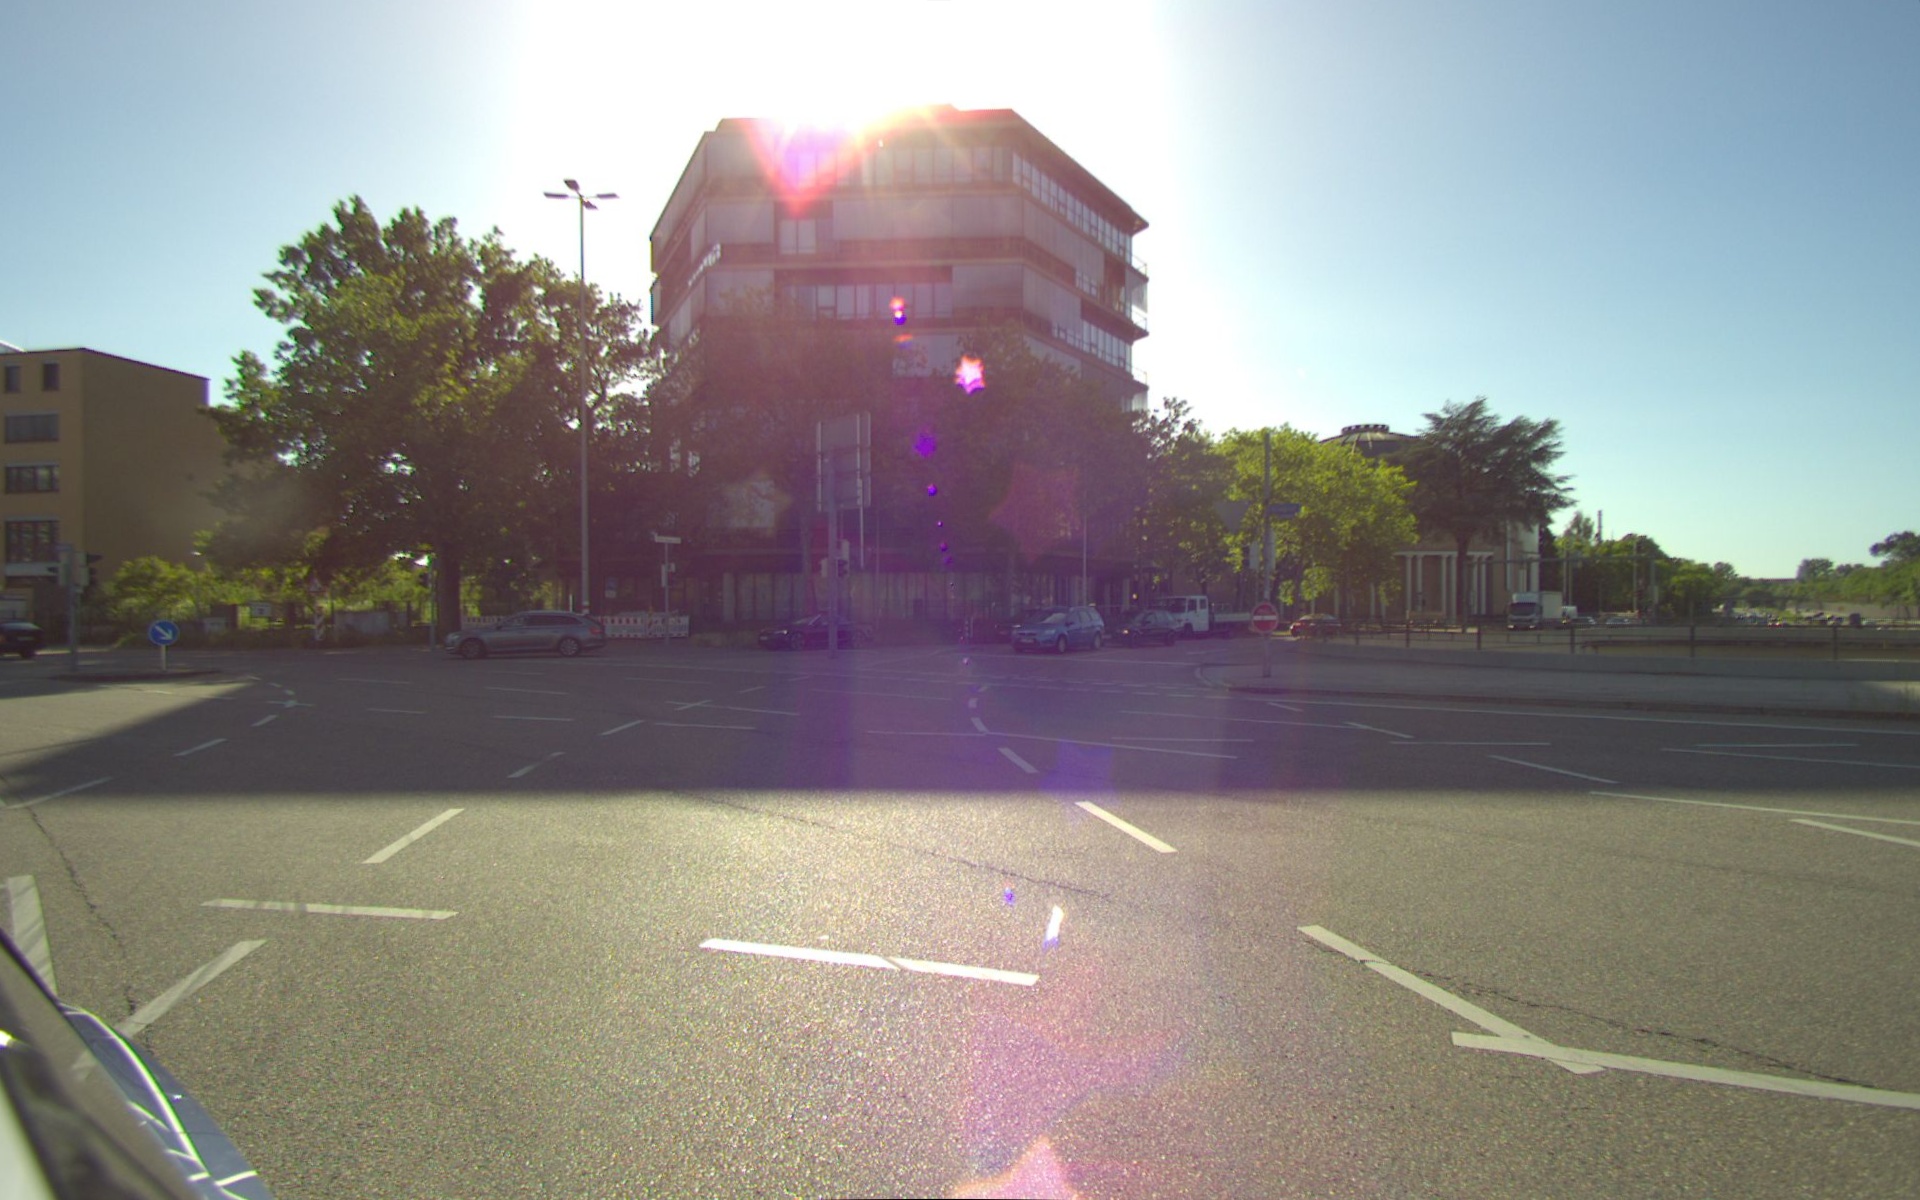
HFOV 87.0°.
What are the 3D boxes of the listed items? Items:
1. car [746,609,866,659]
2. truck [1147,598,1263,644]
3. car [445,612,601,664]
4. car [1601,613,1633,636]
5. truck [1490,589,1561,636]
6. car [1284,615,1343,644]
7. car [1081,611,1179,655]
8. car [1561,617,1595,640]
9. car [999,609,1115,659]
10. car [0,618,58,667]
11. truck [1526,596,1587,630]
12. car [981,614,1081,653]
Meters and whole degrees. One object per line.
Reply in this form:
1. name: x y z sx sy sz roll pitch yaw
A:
1. car: -5.660 1.202 37.487 4.133 1.713 1.817 0 -1 -44
2. truck: 13.433 1.085 55.082 7.397 2.378 2.167 0 -1 -41
3. car: -13.830 1.217 32.334 4.431 1.368 1.886 -2 -4 -19
4. car: 62.101 2.296 95.679 1.999 2.028 3.945 1 2 41
5. truck: 49.559 1.038 88.514 3.850 3.825 9.221 -1 0 39
6. car: 22.346 1.817 63.930 4.134 1.713 1.816 0 -1 -44
7. car: 6.628 1.235 39.219 1.948 1.552 4.402 -1 -1 37
8. car: 51.574 2.343 84.414 1.740 1.696 3.996 1 2 41
9. car: 3.368 1.114 34.392 1.948 1.552 4.402 -1 -1 37
10. car: -34.869 1.498 35.761 4.731 1.634 1.946 -1 -1 9
11. truck: 57.215 1.218 96.951 3.850 3.039 7.648 -1 0 39
12. car: 3.231 1.471 45.618 4.438 1.657 1.883 0 -1 -40
